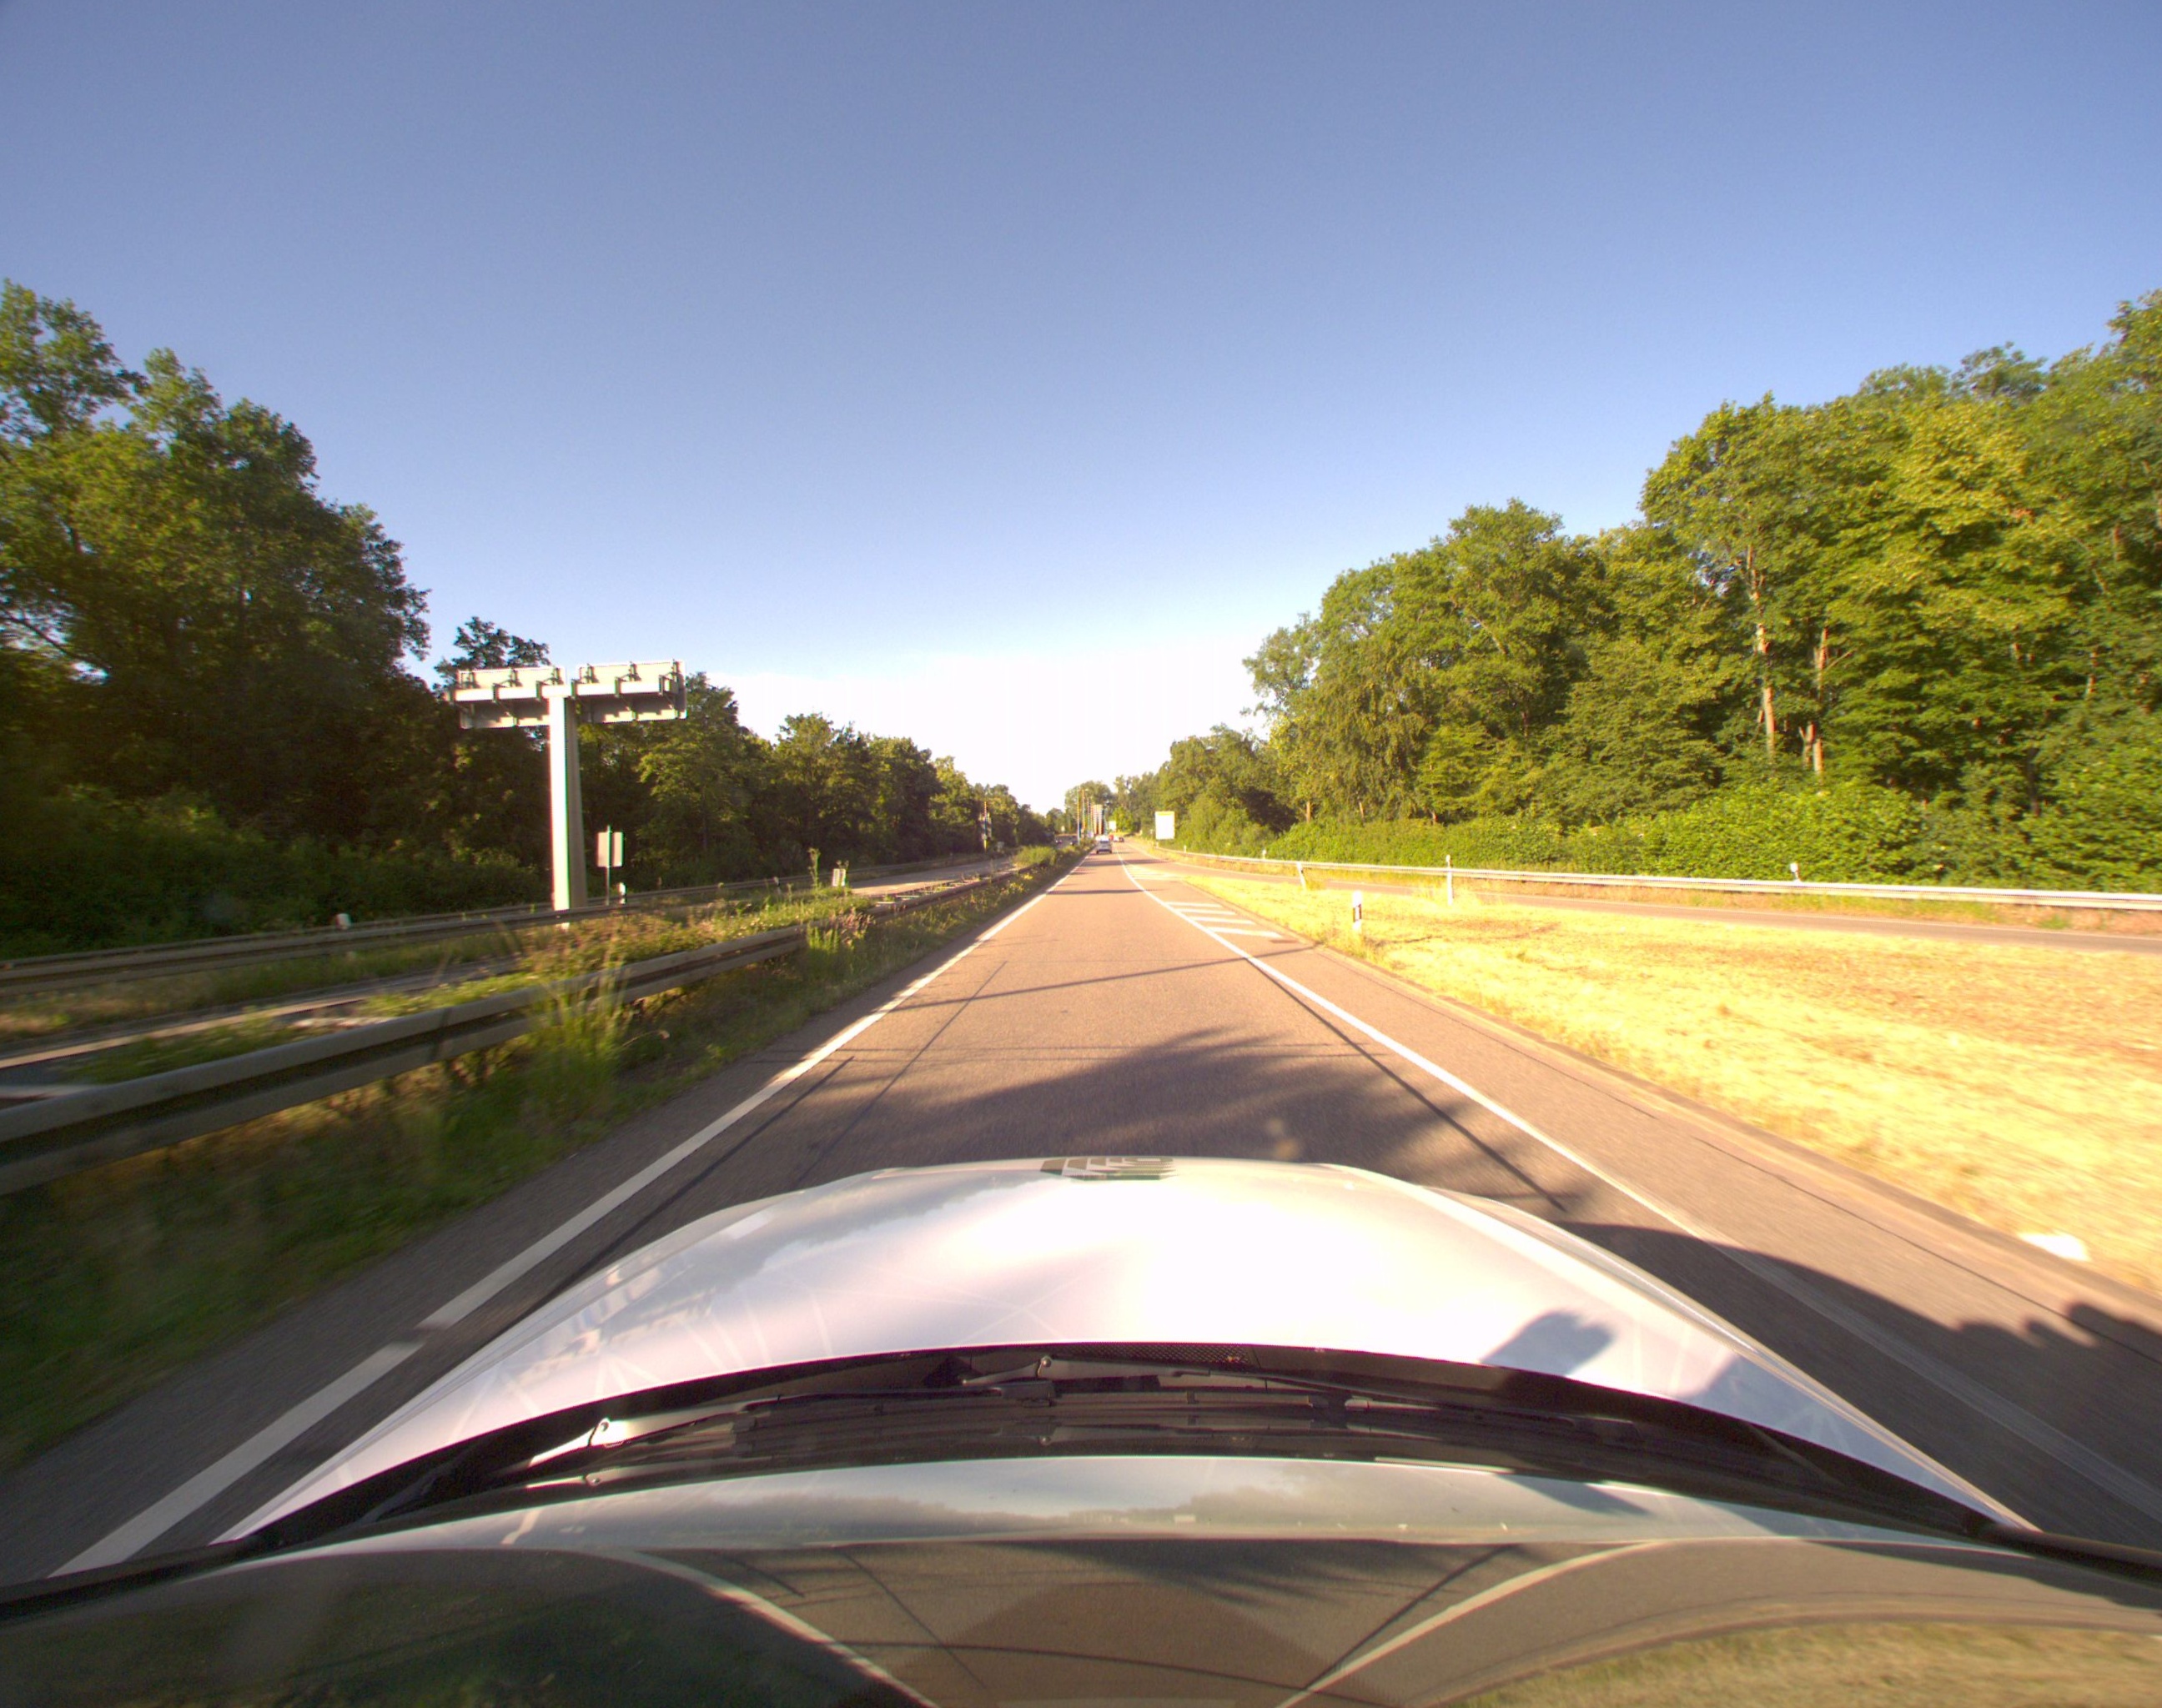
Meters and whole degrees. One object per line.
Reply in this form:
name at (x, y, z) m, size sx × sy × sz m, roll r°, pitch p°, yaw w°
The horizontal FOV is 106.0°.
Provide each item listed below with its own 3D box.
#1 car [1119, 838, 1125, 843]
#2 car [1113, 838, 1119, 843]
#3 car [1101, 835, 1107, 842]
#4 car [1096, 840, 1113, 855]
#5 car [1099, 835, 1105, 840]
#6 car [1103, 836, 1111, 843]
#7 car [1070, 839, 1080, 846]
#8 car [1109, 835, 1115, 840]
car at (10.886, -3.582, 217.129) m, size 1.383 × 1.280 × 2.988 m, roll 0°, pitch 0°, yaw 2°
car at (10.059, -3.872, 233.950) m, size 1.618 × 1.280 × 2.988 m, roll 0°, pitch 0°, yaw 2°
car at (6.878, -4.761, 244.509) m, size 1.986 × 2.013 × 4.001 m, roll 0°, pitch 0°, yaw 1°
car at (2.901, -0.835, 100.466) m, size 1.987 × 1.639 × 4.129 m, roll -3°, pitch 2°, yaw 0°
car at (6.660, -5.190, 257.511) m, size 1.821 × 1.513 × 3.633 m, roll 0°, pitch 0°, yaw 1°
car at (7.282, -4.176, 230.149) m, size 1.986 × 1.879 × 4.251 m, roll -3°, pitch 2°, yaw 1°
car at (-1.290, -2.658, 181.862) m, size 1.773 × 1.403 × 4.558 m, roll -3°, pitch 1°, yaw 4°
car at (9.797, -5.159, 256.950) m, size 1.618 × 1.389 × 2.988 m, roll 0°, pitch 0°, yaw 2°
